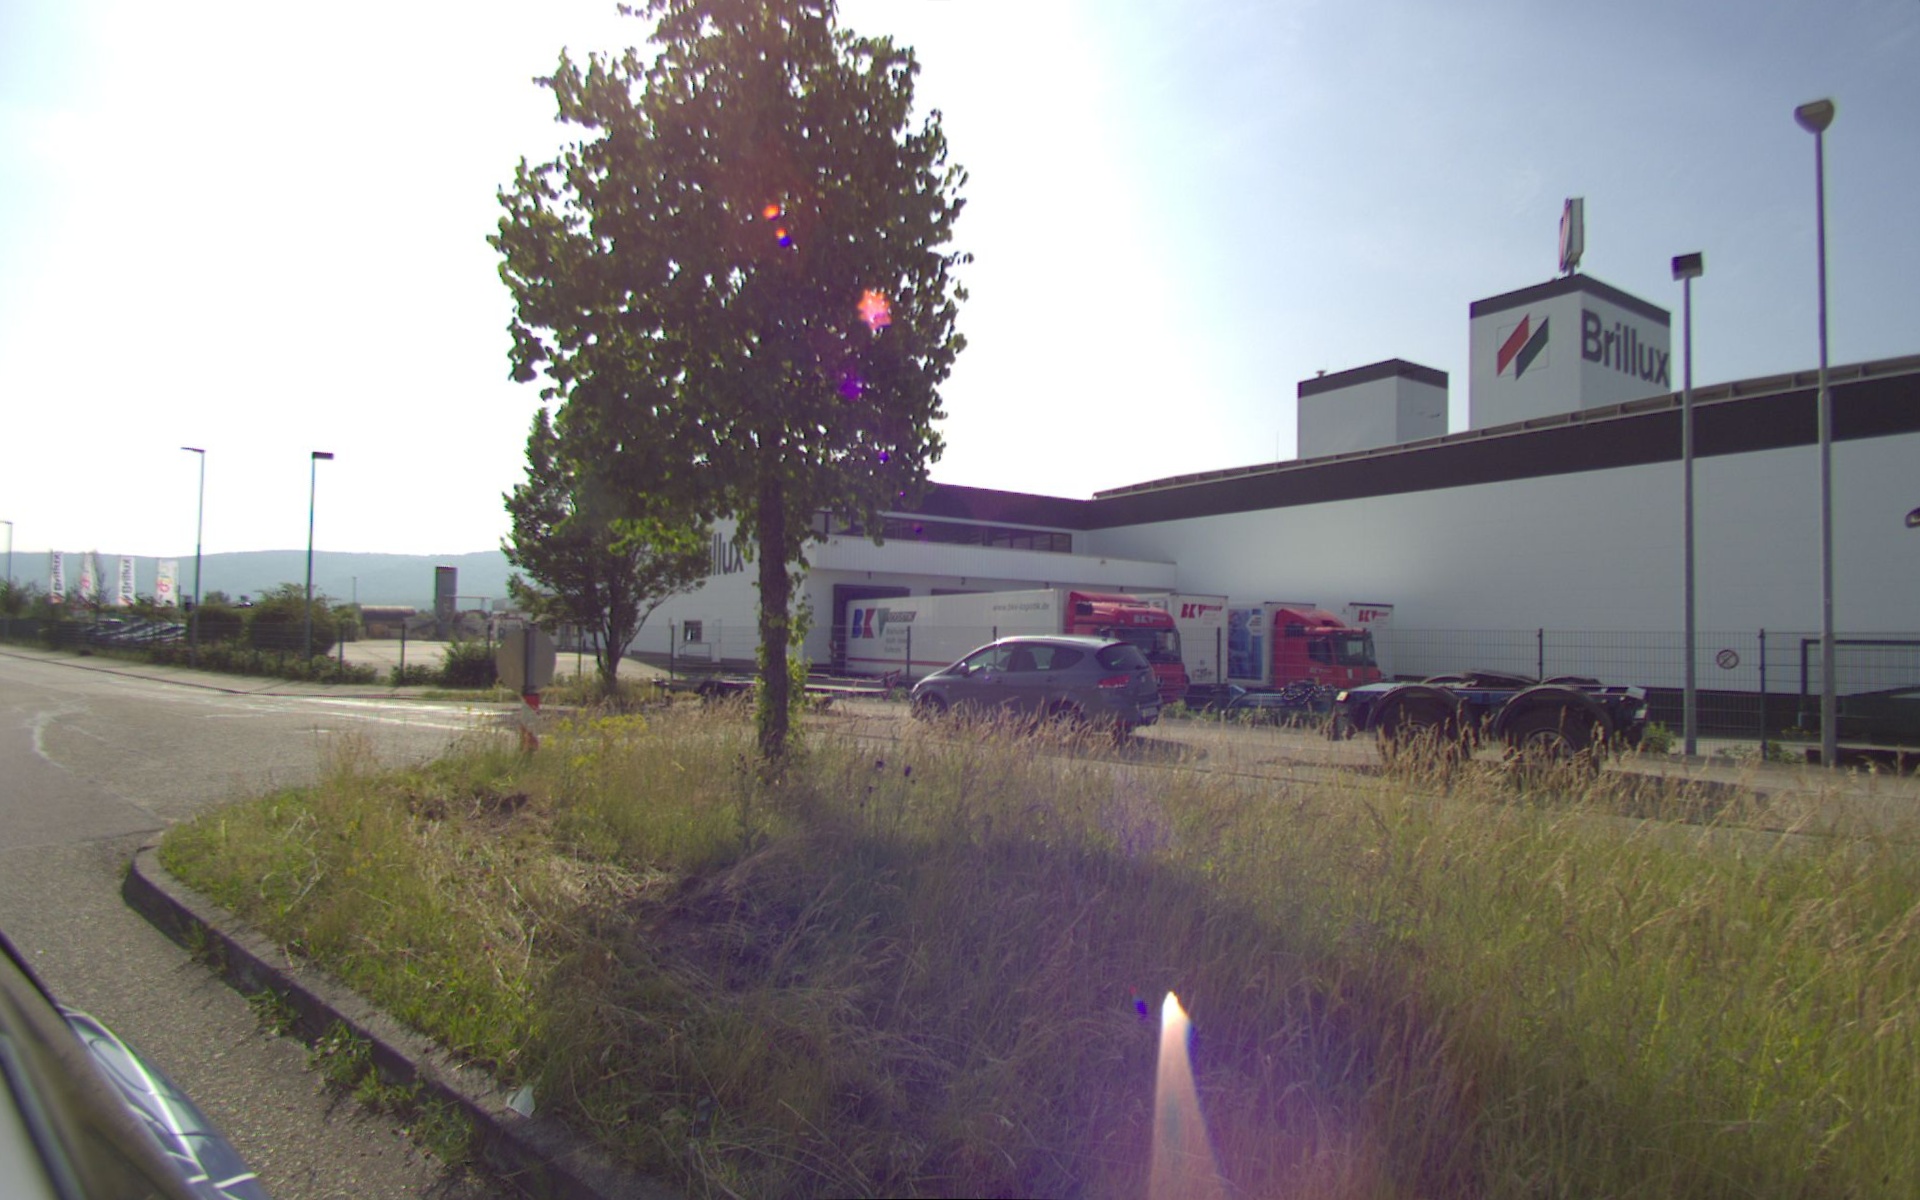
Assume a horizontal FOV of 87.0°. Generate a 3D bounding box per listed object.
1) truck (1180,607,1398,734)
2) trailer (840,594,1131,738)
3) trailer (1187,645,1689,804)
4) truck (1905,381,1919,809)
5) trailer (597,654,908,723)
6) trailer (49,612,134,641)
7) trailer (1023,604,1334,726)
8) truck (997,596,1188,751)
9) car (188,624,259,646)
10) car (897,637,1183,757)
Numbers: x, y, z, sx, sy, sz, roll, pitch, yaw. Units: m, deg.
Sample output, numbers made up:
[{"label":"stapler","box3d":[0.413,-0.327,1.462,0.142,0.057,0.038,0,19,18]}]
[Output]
[{"label":"truck","box3d":[11.215,2.228,35.197,2.728,3.900,7.032,1,0,-35]},{"label":"trailer","box3d":[0.146,1.859,35.076,2.448,4.072,13.925,1,0,-34]},{"label":"trailer","box3d":[5.724,1.324,12.494,5.075,1.464,2.653,-2,-2,41]},{"label":"truck","box3d":[10.571,-0.040,8.041,4.293,3.951,2.682,0,0,40]},{"label":"trailer","box3d":[-4.375,1.679,20.499,6.702,0.932,2.522,-1,0,39]},{"label":"trailer","box3d":[-89.435,2.743,104.358,6.223,2.625,2.861,4,-4,-36]},{"label":"trailer","box3d":[7.895,2.221,40.180,2.816,4.037,14.048,0,-1,-34]},{"label":"truck","box3d":[3.760,1.943,29.786,2.479,4.102,5.558,1,0,-35]},{"label":"car","box3d":[-62.913,2.964,86.548,4.584,1.765,2.158,3,-3,-29]},{"label":"car","box3d":[1.159,1.404,15.965,4.332,1.573,1.678,-1,-1,40]}]
